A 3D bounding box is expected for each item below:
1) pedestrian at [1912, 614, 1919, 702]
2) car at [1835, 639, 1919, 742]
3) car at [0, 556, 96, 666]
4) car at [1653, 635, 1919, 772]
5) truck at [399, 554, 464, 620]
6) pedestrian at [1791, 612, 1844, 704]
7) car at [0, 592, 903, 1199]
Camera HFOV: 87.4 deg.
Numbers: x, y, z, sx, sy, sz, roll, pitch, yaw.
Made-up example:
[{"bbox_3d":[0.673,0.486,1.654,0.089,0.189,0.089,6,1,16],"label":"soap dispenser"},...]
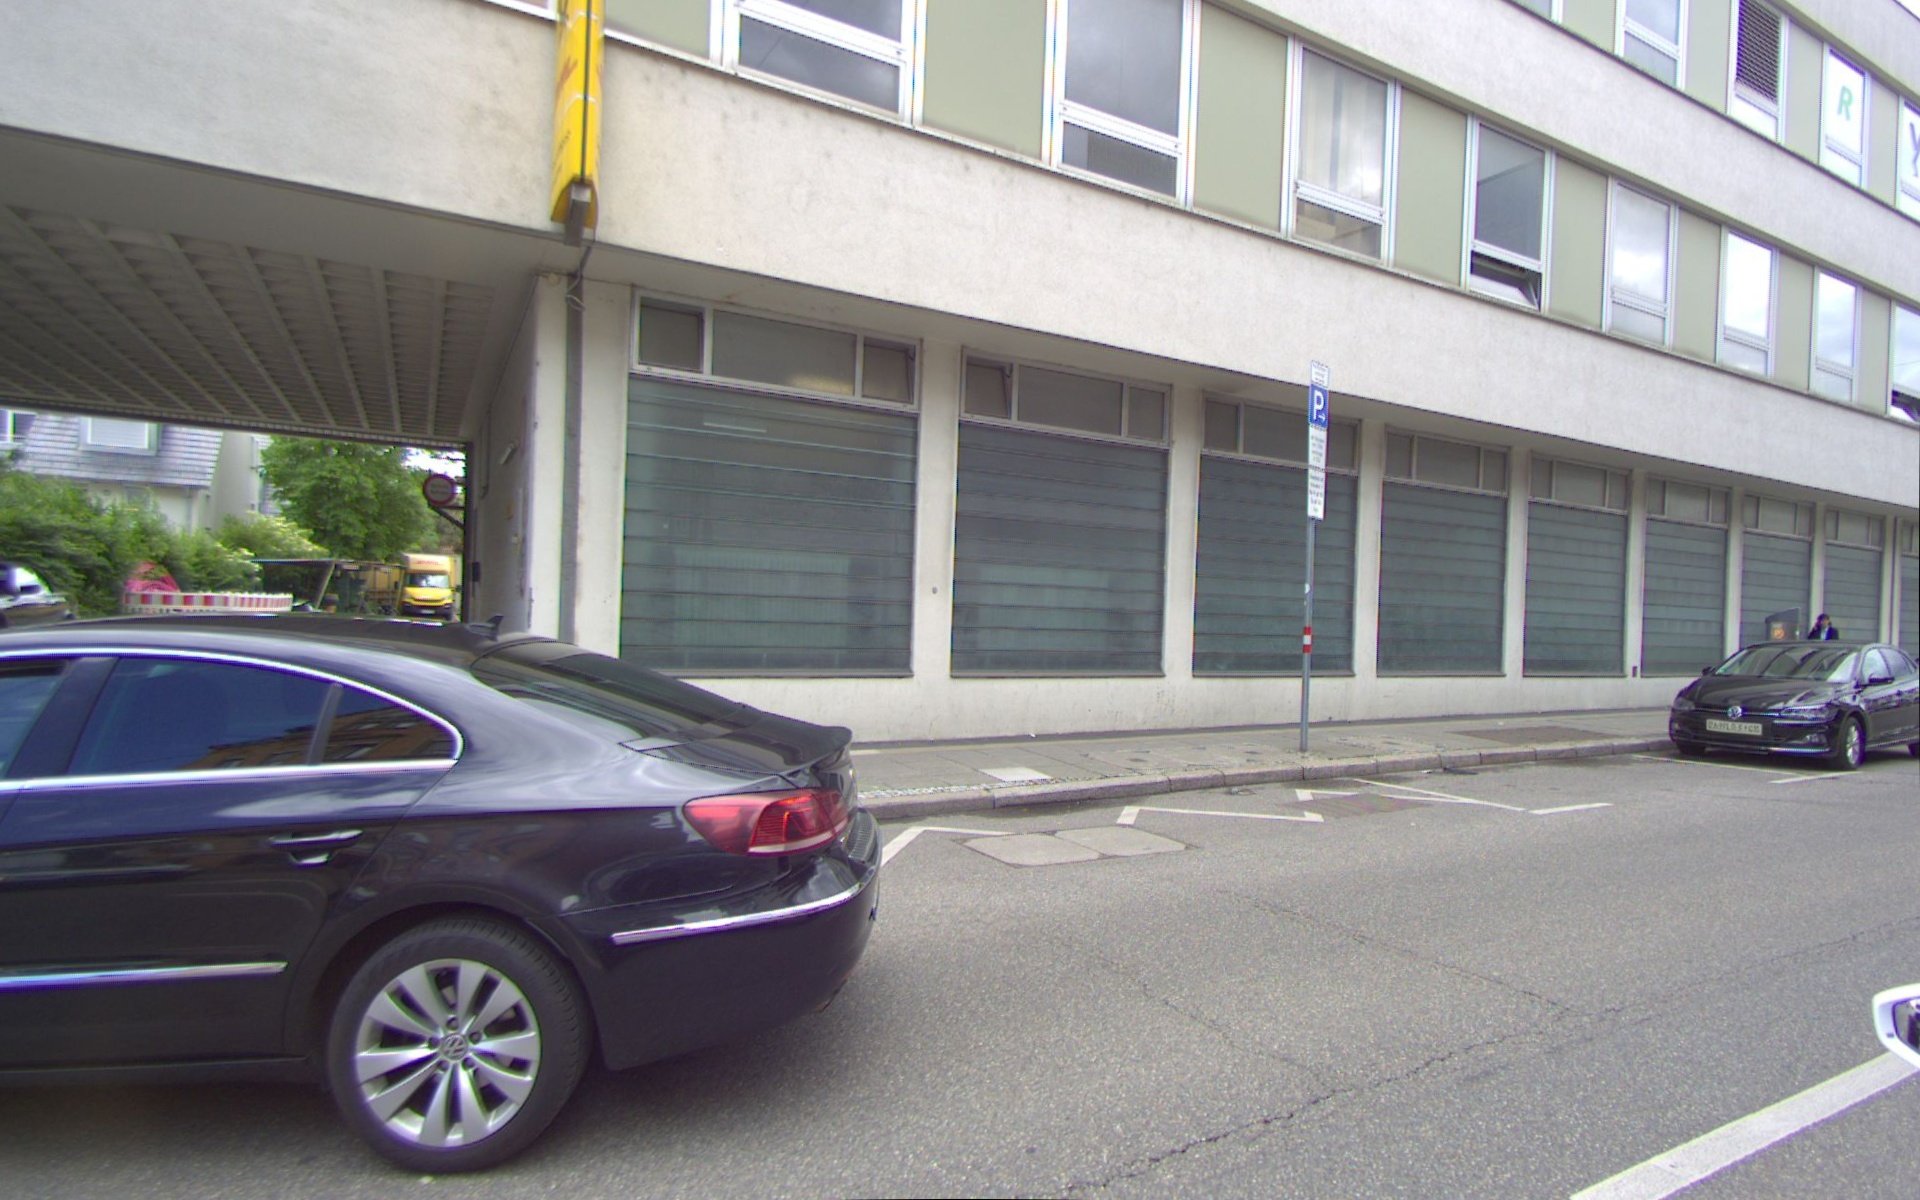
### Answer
[{"bbox_3d":[19.498,1.154,19.932,1.043,1.741,0.586,2,0,-31],"label":"pedestrian"},{"bbox_3d":[15.389,1.338,15.163,4.208,1.444,1.809,2,-2,-26],"label":"car"},{"bbox_3d":[-13.189,0.087,13.337,1.604,1.341,4.421,2,0,-28],"label":"car"},{"bbox_3d":[10.505,1.187,12.487,3.826,1.444,1.708,2,-2,-31],"label":"car"},{"bbox_3d":[-24.625,-0.638,47.032,1.972,2.789,7.255,2,1,-23],"label":"truck"},{"bbox_3d":[16.651,1.118,19.511,0.642,1.741,0.586,2,0,-30],"label":"pedestrian"},{"bbox_3d":[-2.397,0.743,3.240,4.368,1.417,1.656,2,1,-4],"label":"car"}]
